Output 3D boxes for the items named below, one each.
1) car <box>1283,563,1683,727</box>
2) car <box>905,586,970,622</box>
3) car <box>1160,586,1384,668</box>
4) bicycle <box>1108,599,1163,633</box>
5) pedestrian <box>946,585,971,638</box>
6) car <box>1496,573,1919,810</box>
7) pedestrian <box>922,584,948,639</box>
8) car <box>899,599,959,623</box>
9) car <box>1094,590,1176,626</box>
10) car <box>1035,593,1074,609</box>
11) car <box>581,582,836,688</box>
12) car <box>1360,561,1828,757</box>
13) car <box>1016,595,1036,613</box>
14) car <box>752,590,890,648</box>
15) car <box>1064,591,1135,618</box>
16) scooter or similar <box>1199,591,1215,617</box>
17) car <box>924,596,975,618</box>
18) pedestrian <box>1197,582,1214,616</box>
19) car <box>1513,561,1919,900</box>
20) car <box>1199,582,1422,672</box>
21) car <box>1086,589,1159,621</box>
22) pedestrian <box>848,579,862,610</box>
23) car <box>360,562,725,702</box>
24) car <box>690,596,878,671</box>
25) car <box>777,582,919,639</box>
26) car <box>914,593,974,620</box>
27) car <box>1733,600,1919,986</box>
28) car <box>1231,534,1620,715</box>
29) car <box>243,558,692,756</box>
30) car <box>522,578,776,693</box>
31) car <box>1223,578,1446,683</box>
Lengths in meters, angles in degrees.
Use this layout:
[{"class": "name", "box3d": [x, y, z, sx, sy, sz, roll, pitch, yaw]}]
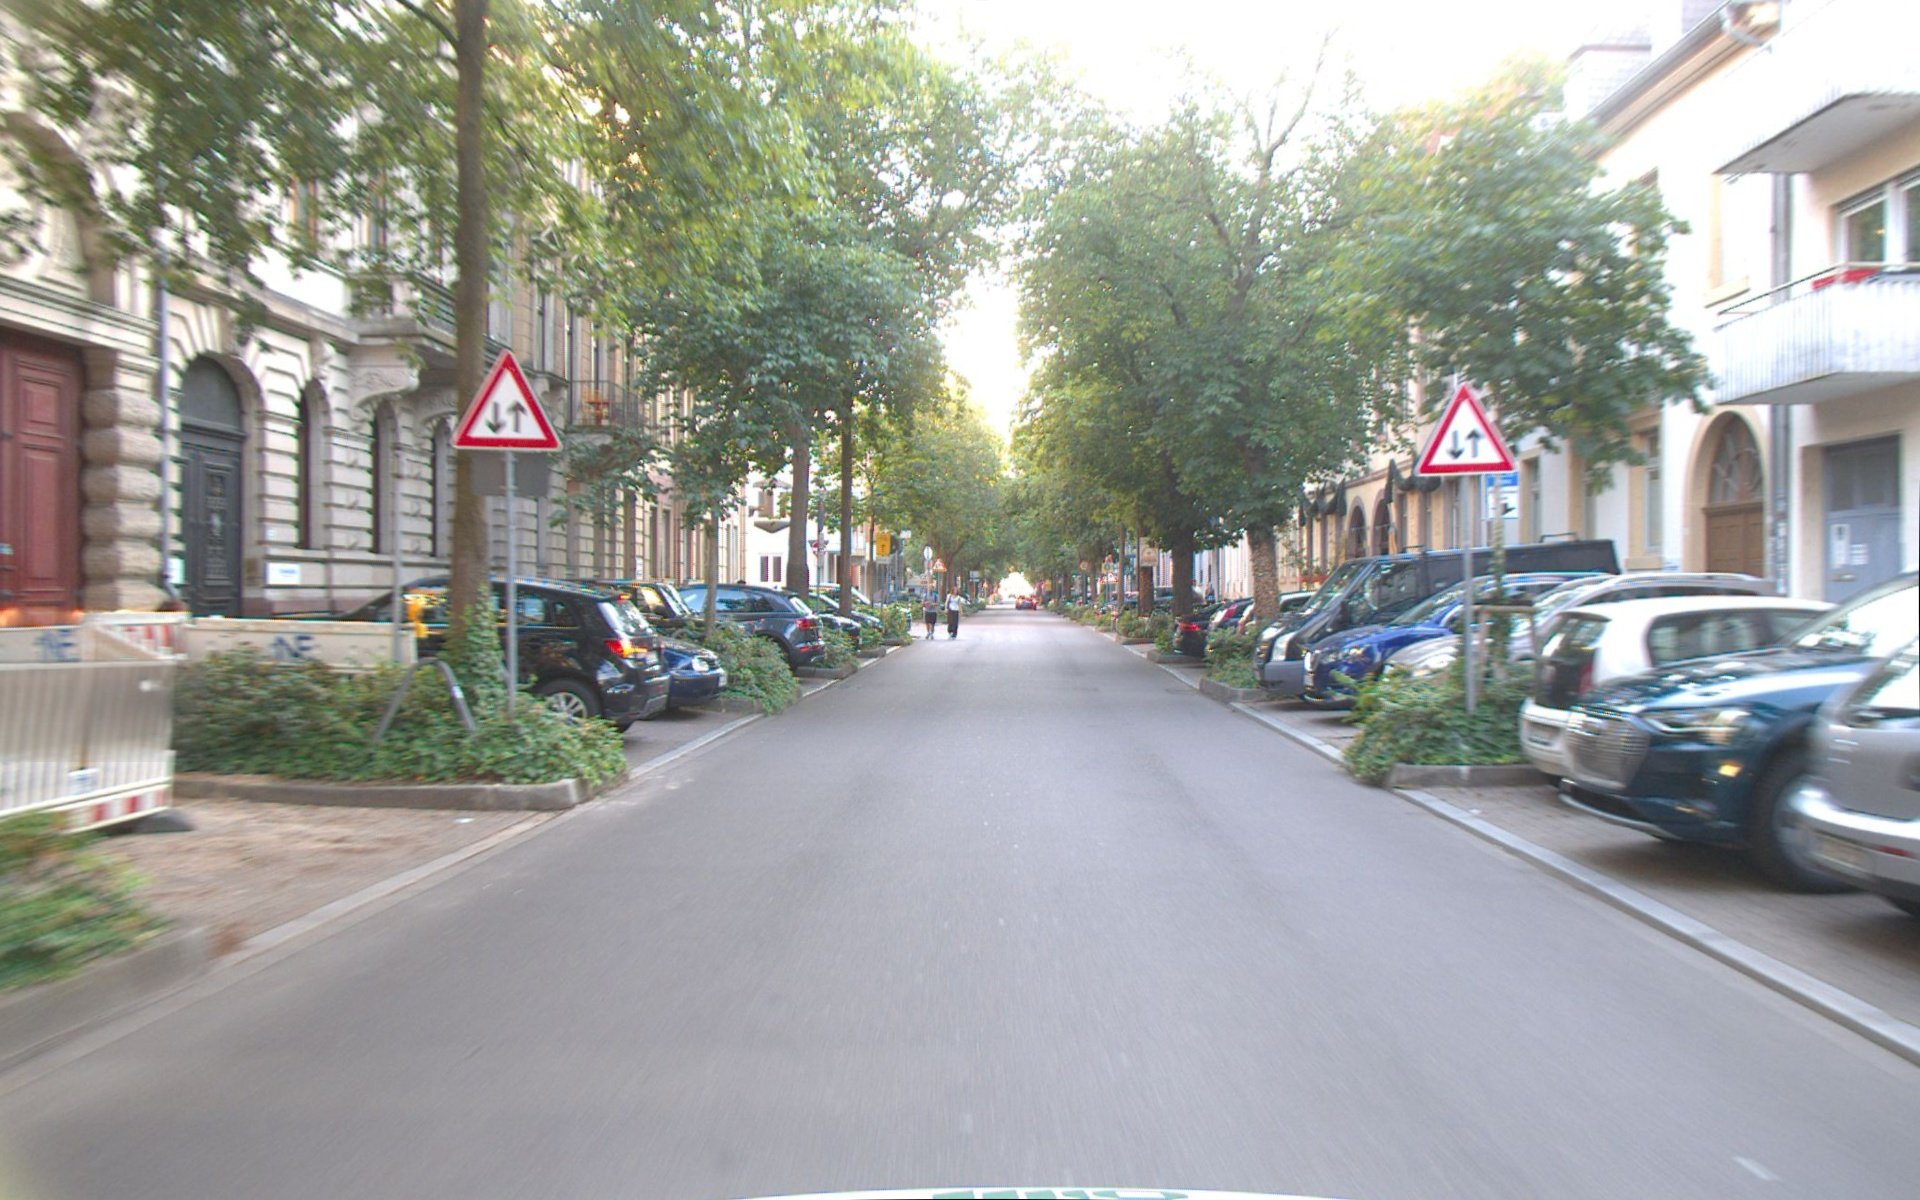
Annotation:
[{"class": "car", "box3d": [6.109, 0.510, 19.708, 4.071, 1.606, 1.970, -4, 0, 0]}, {"class": "car", "box3d": [-1.583, 0.275, 117.624, 4.585, 2.521, 2.000, 0, -1, 2]}, {"class": "car", "box3d": [6.527, 0.547, 34.916, 4.311, 1.418, 1.885, -4, 0, 0]}, {"class": "bicycle", "box3d": [6.231, 0.572, 58.667, 1.803, 1.155, 0.743, -1, 0, -9]}, {"class": "pedestrian", "box3d": [-0.056, 0.382, 54.002, 0.778, 1.700, 0.831, -1, 0, 1]}, {"class": "car", "box3d": [6.122, 0.601, 12.221, 3.715, 1.448, 1.698, -4, 0, 1]}, {"class": "pedestrian", "box3d": [-0.811, 0.382, 54.111, 0.778, 1.767, 0.831, -1, 0, 1]}, {"class": "car", "box3d": [-2.020, 0.717, 109.286, 3.789, 1.512, 1.758, 1, 0, 3]}, {"class": "car", "box3d": [7.743, 0.341, 73.437, 3.412, 1.478, 1.899, -1, 0, 0]}, {"class": "car", "box3d": [10.314, 0.066, 180.265, 4.180, 1.593, 1.963, -2, 0, 2]}, {"class": "car", "box3d": [-4.368, 0.584, 29.194, 4.114, 1.701, 1.908, 2, 1, 2]}, {"class": "car", "box3d": [6.186, 0.555, 16.489, 3.884, 1.606, 1.851, -4, 0, 1]}, {"class": "car", "box3d": [6.342, 0.399, 159.337, 1.916, 1.593, 4.283, -2, 0, 2]}, {"class": "car", "box3d": [-3.835, 0.516, 46.033, 3.616, 1.484, 1.873, 2, 1, 1]}, {"class": "car", "box3d": [9.158, 0.275, 108.833, 4.618, 1.740, 1.951, 0, 1, 3]}, {"class": "scooter or similar", "box3d": [11.441, 0.198, 76.571, 0.641, 1.173, 0.831, -1, 0, 3]}, {"class": "car", "box3d": [-0.882, 0.560, 137.777, 4.116, 1.664, 1.963, -2, -1, 2]}, {"class": "pedestrian", "box3d": [11.467, -0.034, 77.269, 0.641, 1.563, 0.831, -1, 0, 3]}, {"class": "car", "box3d": [5.733, 0.576, 9.345, 4.496, 1.606, 1.944, -4, 0, 1]}, {"class": "car", "box3d": [6.796, 0.515, 32.382, 3.906, 1.462, 1.926, -4, 0, 0]}, {"class": "car", "box3d": [8.048, 0.233, 82.029, 3.412, 1.478, 1.899, -1, 0, 0]}, {"class": "pedestrian", "box3d": [-5.858, -0.305, 92.574, 0.688, 1.758, 0.905, 0, -1, 2]}, {"class": "car", "box3d": [-4.990, 0.354, 20.116, 3.883, 1.411, 1.766, 3, 1, 3]}, {"class": "car", "box3d": [-3.795, 0.715, 36.192, 3.864, 1.559, 1.908, 1, 0, 1]}, {"class": "car", "box3d": [-3.587, 0.315, 53.436, 4.333, 1.680, 1.873, 2, 1, 3]}, {"class": "car", "box3d": [-1.254, 0.512, 130.059, 4.585, 1.886, 1.963, -2, -1, 2]}, {"class": "car", "box3d": [5.757, 0.658, 7.076, 3.989, 1.454, 1.819, -4, 0, 4]}, {"class": "car", "box3d": [6.163, 0.315, 22.326, 4.593, 2.046, 2.038, -4, 0, 1]}, {"class": "car", "box3d": [-4.866, 0.540, 16.732, 3.883, 1.624, 1.781, 4, 0, 2]}, {"class": "car", "box3d": [-4.975, 0.549, 26.808, 3.722, 1.701, 1.714, 2, 1, 1]}, {"class": "car", "box3d": [6.682, 0.532, 29.782, 3.604, 1.606, 1.715, -4, 0, 2]}]
